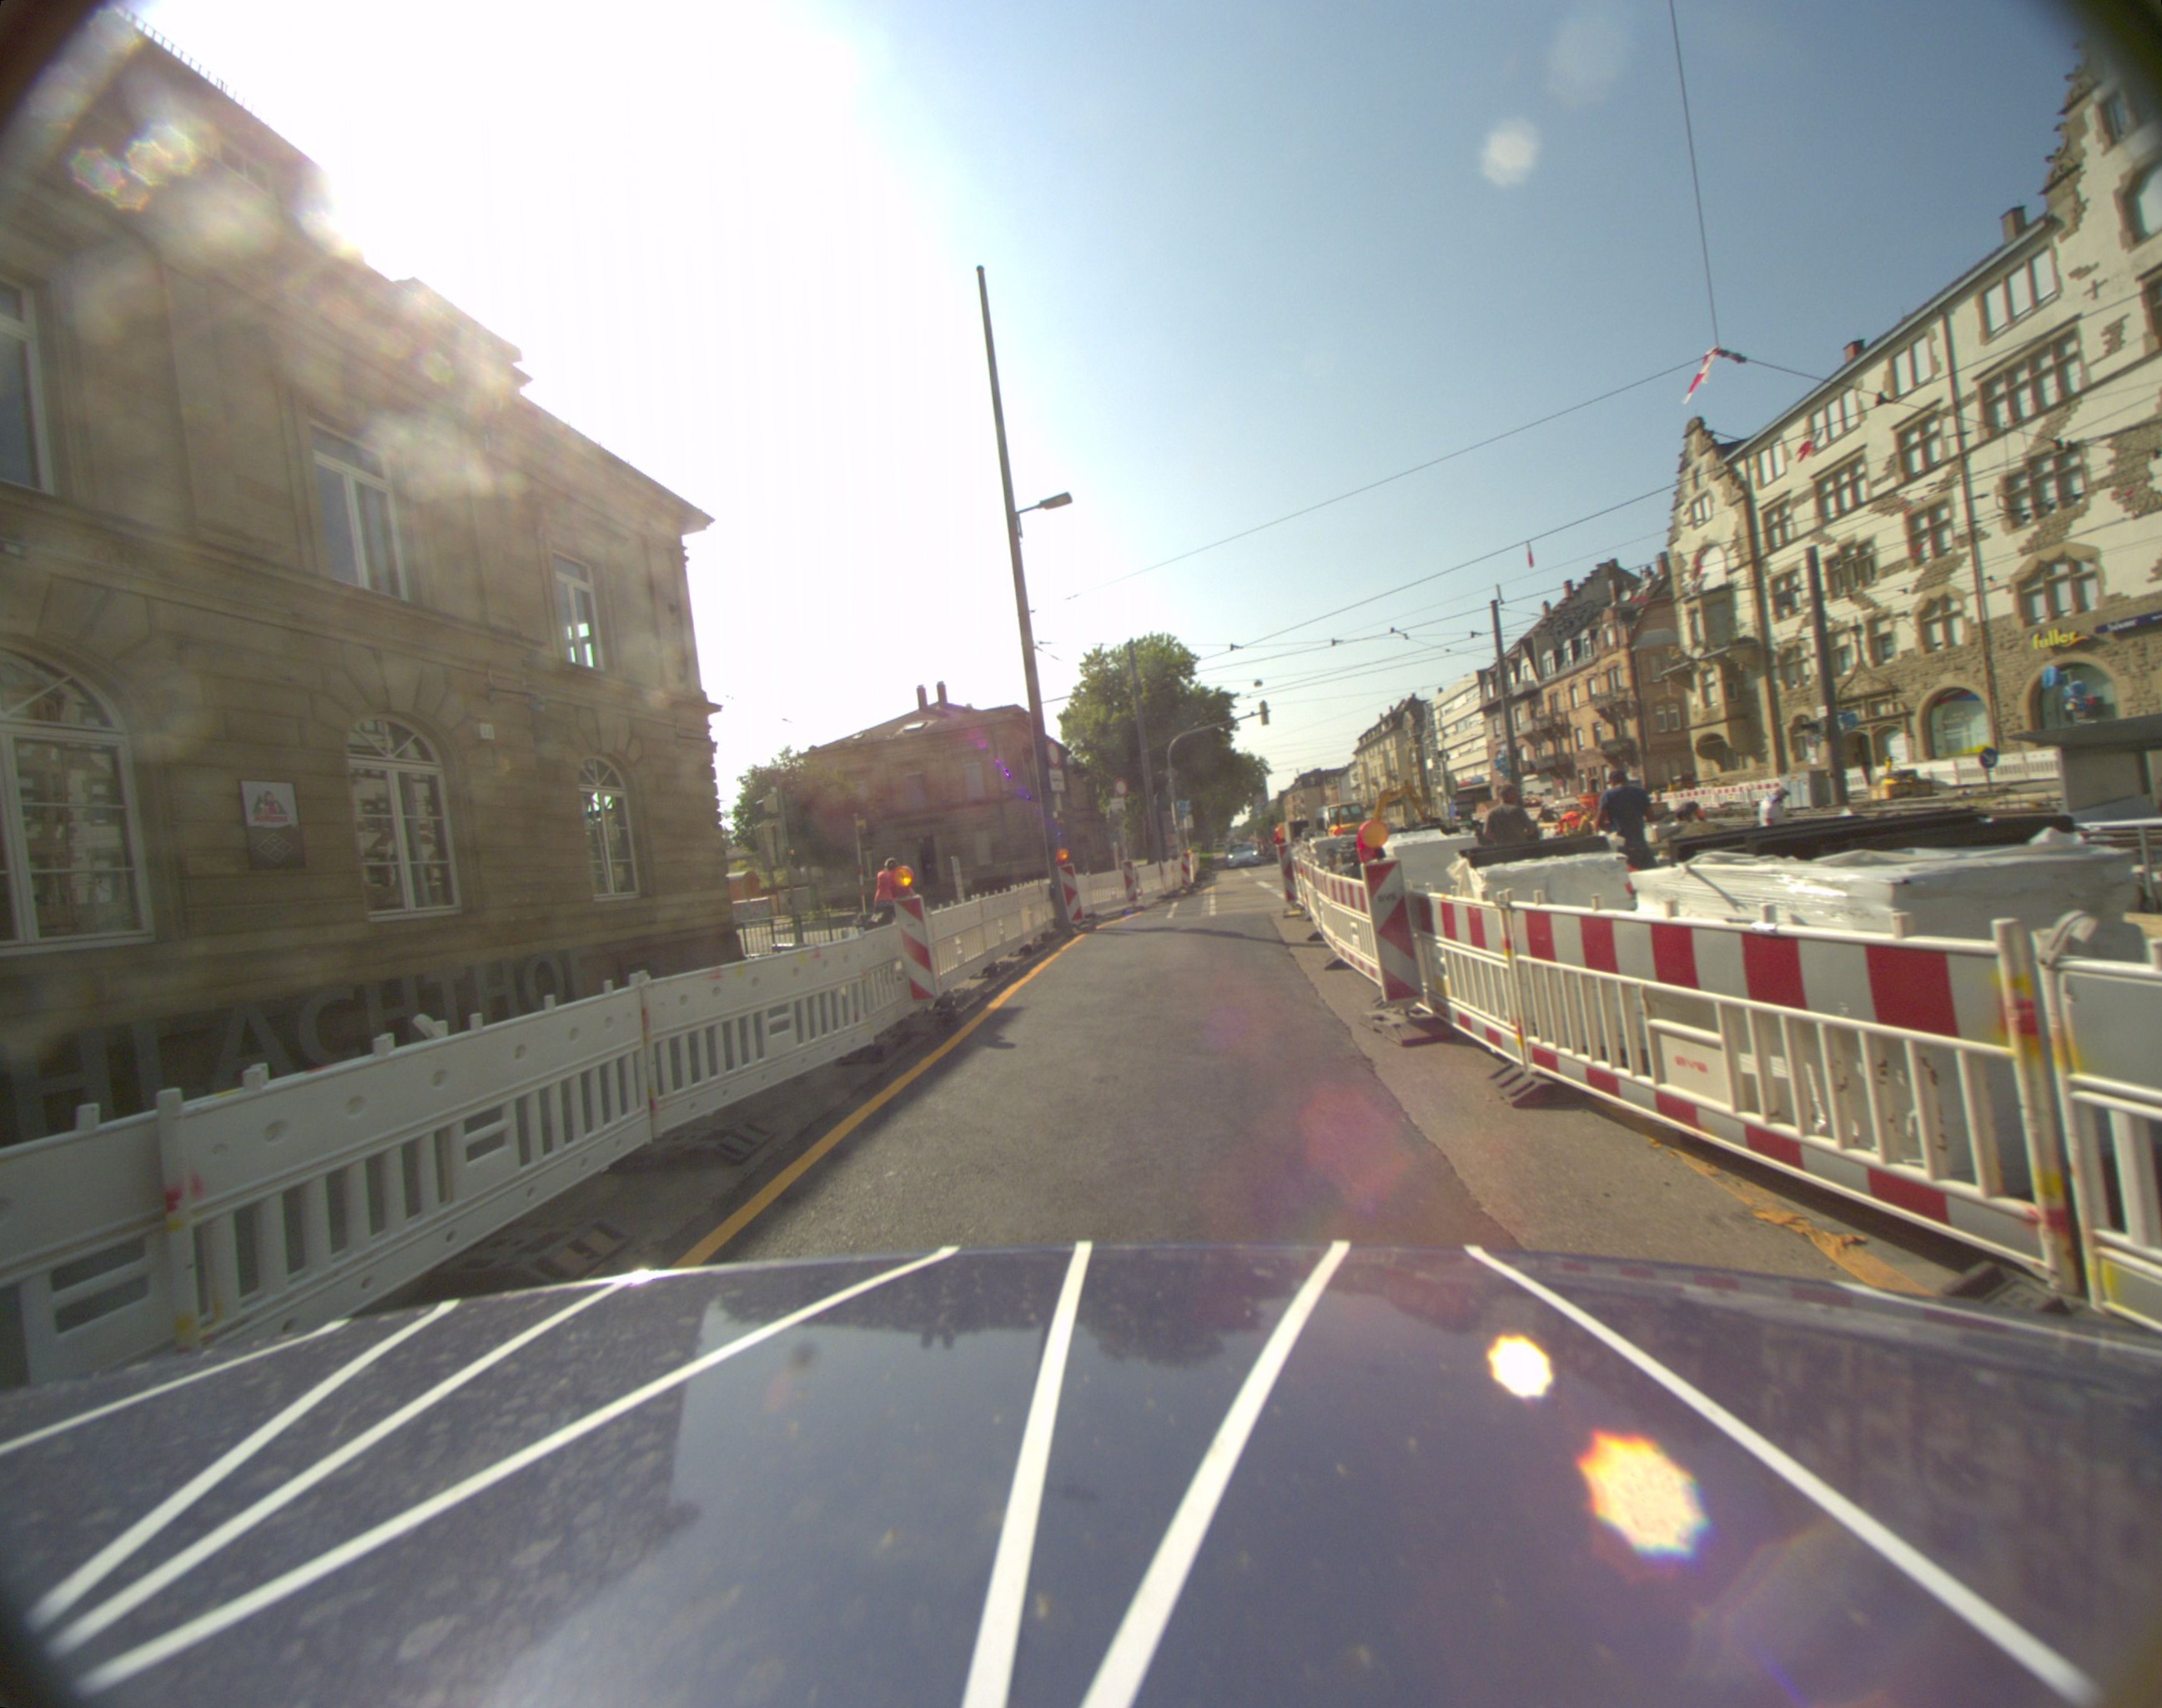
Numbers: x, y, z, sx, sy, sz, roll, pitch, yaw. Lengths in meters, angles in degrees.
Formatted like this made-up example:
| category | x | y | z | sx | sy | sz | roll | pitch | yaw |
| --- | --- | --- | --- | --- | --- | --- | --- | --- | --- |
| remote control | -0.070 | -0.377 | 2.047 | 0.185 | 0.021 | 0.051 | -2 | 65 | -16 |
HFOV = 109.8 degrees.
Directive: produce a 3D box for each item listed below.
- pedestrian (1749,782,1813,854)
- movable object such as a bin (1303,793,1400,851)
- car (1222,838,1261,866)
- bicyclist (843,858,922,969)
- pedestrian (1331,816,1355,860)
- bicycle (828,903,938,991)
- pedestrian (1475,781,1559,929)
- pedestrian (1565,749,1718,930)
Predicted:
| category | x | y | z | sx | sy | sz | roll | pitch | yaw |
| --- | --- | --- | --- | --- | --- | --- | --- | --- | --- |
| pedestrian | 12.927 | -0.656 | 14.038 | 0.548 | 1.239 | 0.547 | -7 | 0 | -7 |
| movable object such as a bin | 12.456 | -1.457 | 35.210 | 3.171 | 2.395 | 2.917 | -4 | 2 | -6 |
| car | 9.484 | -0.142 | 45.100 | 1.997 | 1.387 | 4.002 | -7 | 0 | 10 |
| bicyclist | -3.110 | 0.911 | 11.971 | 0.736 | 1.616 | 0.853 | -6 | 0 | 10 |
| pedestrian | 10.823 | -0.647 | 31.418 | 0.701 | 1.729 | 0.913 | -6 | 0 | 14 |
| bicycle | -3.050 | 1.409 | 11.987 | 0.743 | 1.026 | 2.133 | -7 | 0 | 10 |
| pedestrian | 5.485 | 0.021 | 9.560 | 0.718 | 1.764 | 0.466 | -6 | 1 | 34 |
| pedestrian | 6.204 | -0.155 | 8.456 | 0.920 | 1.830 | 0.801 | -7 | 0 | -3 |
